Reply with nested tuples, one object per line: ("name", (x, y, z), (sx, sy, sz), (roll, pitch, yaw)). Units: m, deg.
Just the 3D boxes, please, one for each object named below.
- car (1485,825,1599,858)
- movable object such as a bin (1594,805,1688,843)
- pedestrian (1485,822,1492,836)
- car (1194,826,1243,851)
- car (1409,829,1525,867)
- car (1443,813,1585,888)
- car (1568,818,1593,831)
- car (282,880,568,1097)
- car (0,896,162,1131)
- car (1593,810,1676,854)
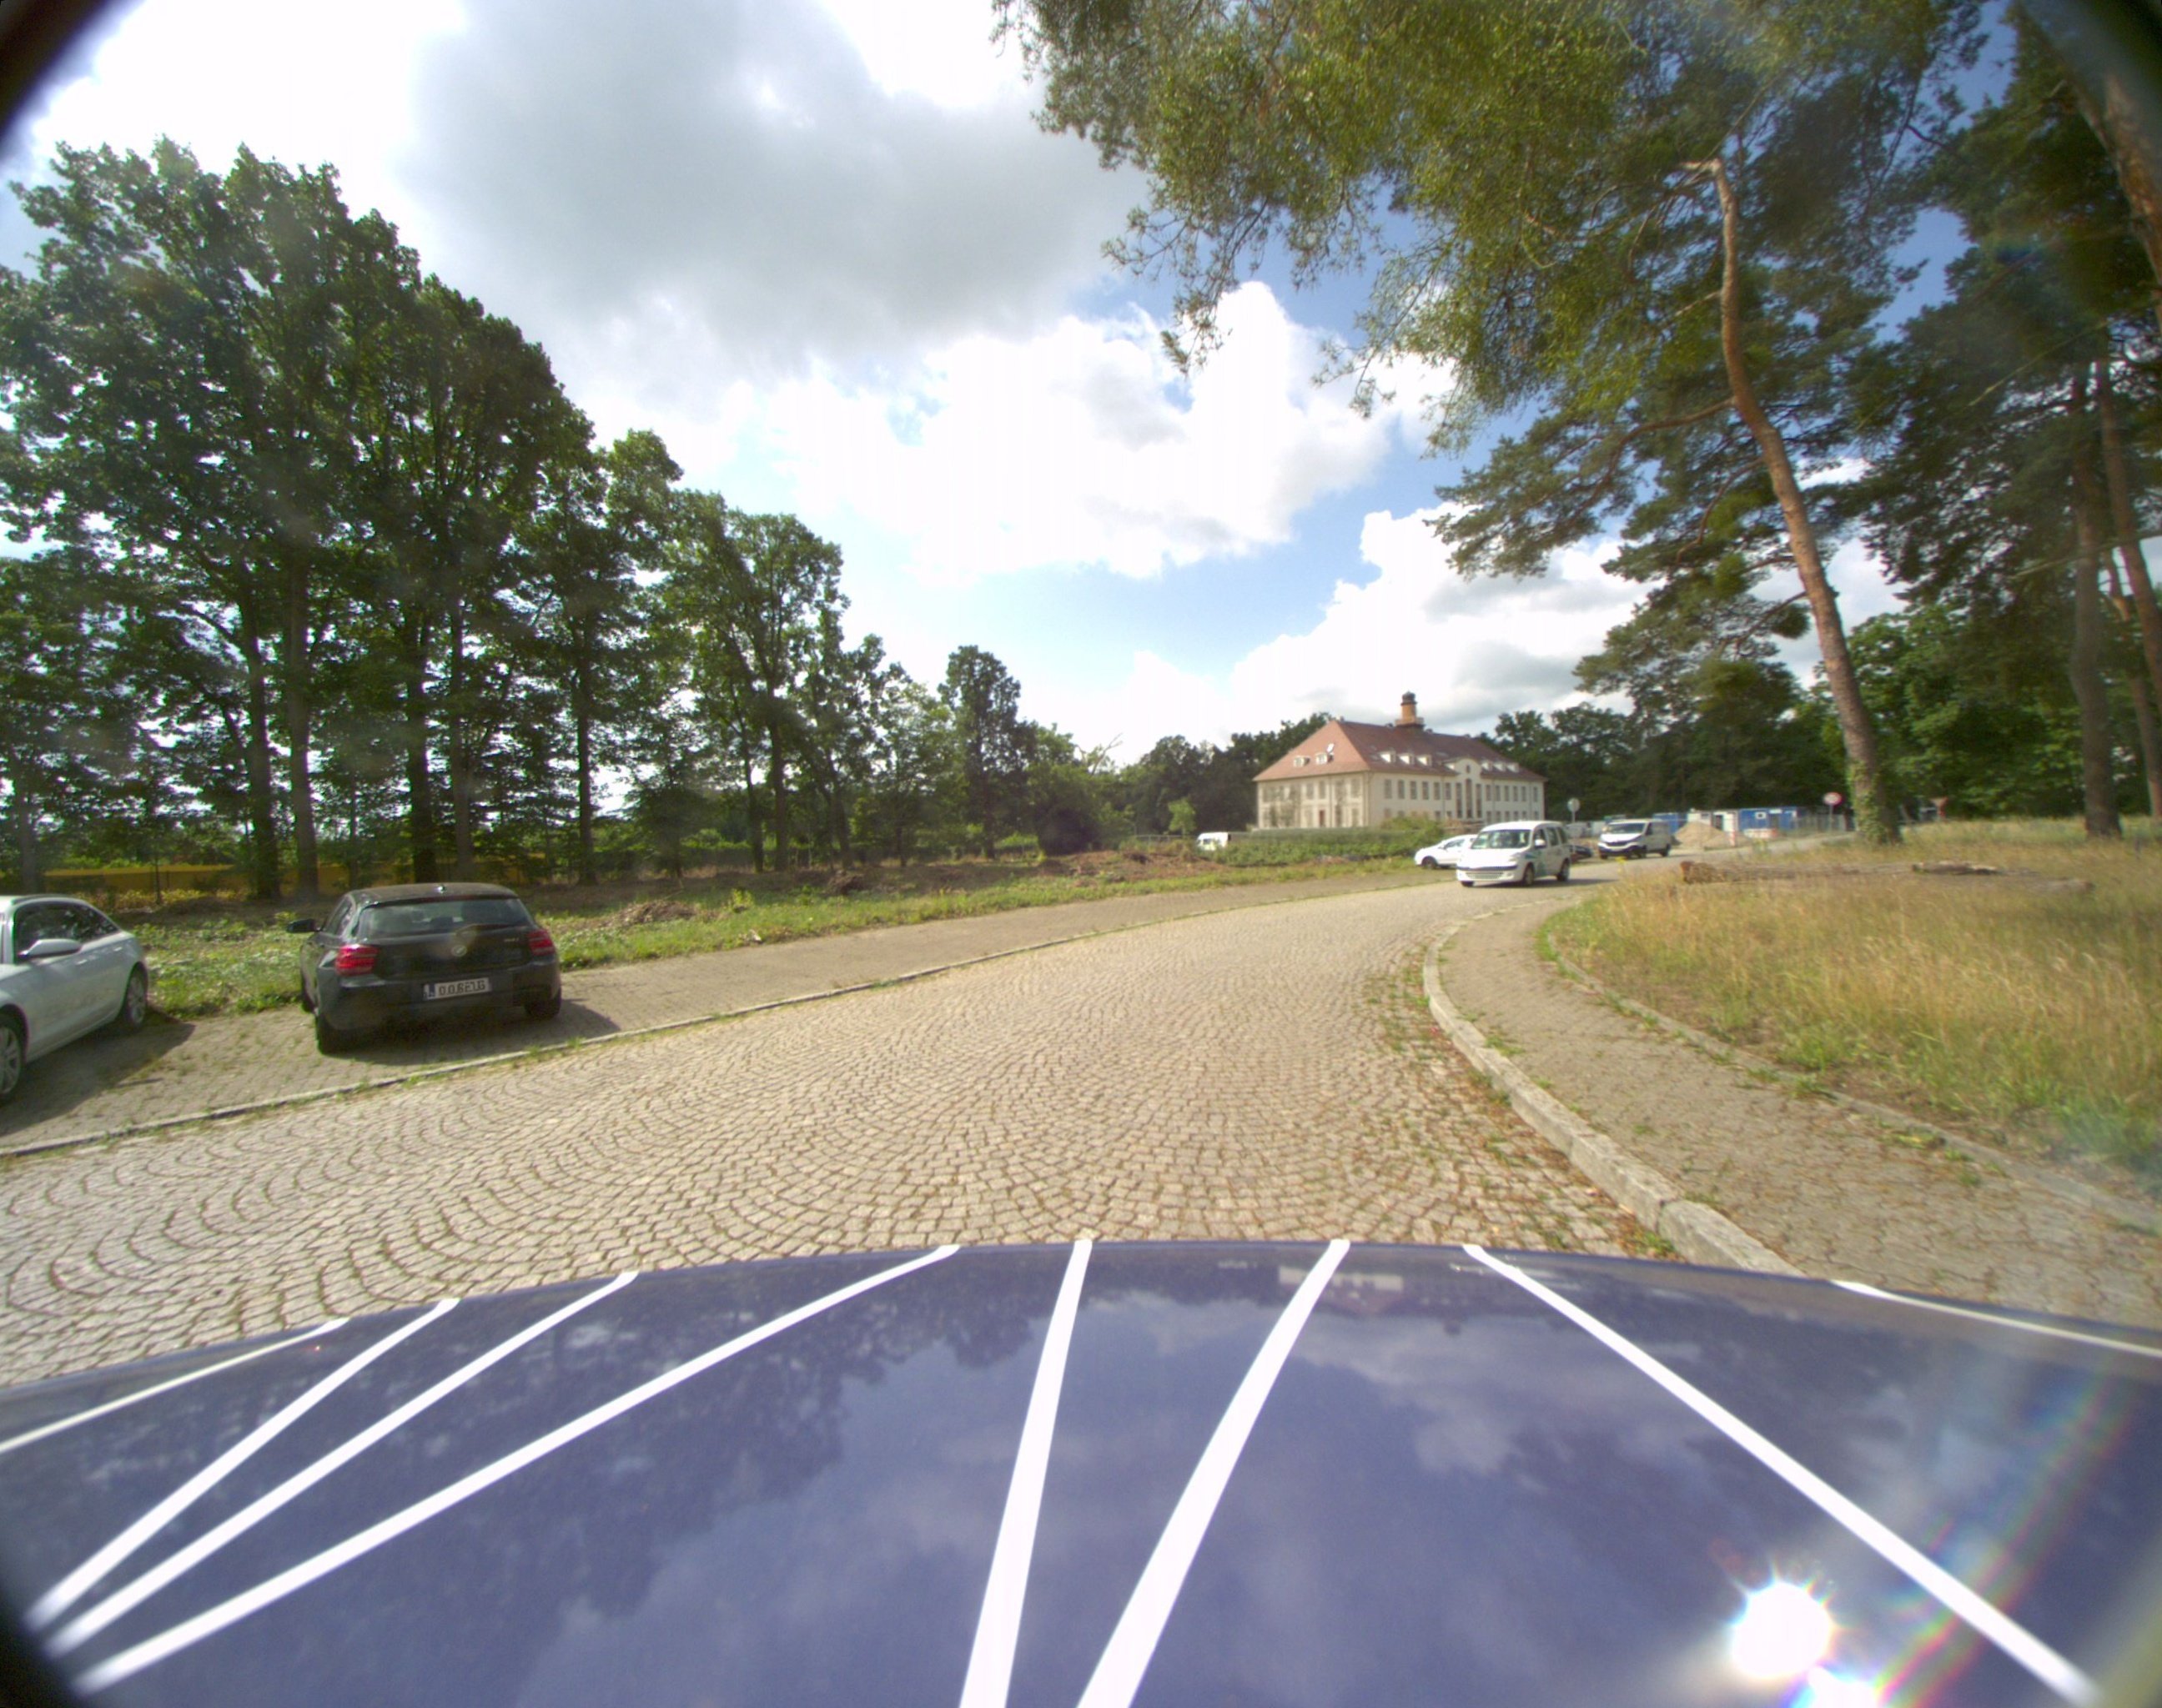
("car", (22.484, -0.619, 37.210), (1.749, 1.467, 4.455), (-4, 3, -43))
("movable object such as a bin", (40.257, -2.149, 54.676), (5.656, 2.507, 2.147), (-2, 1, -10))
("pedestrian", (55.560, -3.413, 103.582), (0.507, 1.777, 0.490), (-3, 1, -16))
("car", (15.162, -1.703, 84.194), (2.250, 2.576, 5.425), (-3, 2, -30))
("car", (16.436, -0.271, 32.490), (1.707, 1.456, 4.043), (-4, 3, -41))
("car", (12.502, -0.150, 21.807), (4.839, 1.858, 1.835), (-3, 1, -39))
("car", (73.606, -4.352, 112.026), (4.046, 1.674, 1.799), (-3, 2, -37))
("car", (-7.148, 1.130, 8.101), (4.326, 1.492, 1.833), (0, 2, 43))
("car", (-9.345, 1.236, 5.918), (1.878, 1.464, 4.864), (-2, 2, -40))
("car", (28.592, -1.183, 39.186), (5.688, 2.042, 1.915), (-3, 2, -38))
